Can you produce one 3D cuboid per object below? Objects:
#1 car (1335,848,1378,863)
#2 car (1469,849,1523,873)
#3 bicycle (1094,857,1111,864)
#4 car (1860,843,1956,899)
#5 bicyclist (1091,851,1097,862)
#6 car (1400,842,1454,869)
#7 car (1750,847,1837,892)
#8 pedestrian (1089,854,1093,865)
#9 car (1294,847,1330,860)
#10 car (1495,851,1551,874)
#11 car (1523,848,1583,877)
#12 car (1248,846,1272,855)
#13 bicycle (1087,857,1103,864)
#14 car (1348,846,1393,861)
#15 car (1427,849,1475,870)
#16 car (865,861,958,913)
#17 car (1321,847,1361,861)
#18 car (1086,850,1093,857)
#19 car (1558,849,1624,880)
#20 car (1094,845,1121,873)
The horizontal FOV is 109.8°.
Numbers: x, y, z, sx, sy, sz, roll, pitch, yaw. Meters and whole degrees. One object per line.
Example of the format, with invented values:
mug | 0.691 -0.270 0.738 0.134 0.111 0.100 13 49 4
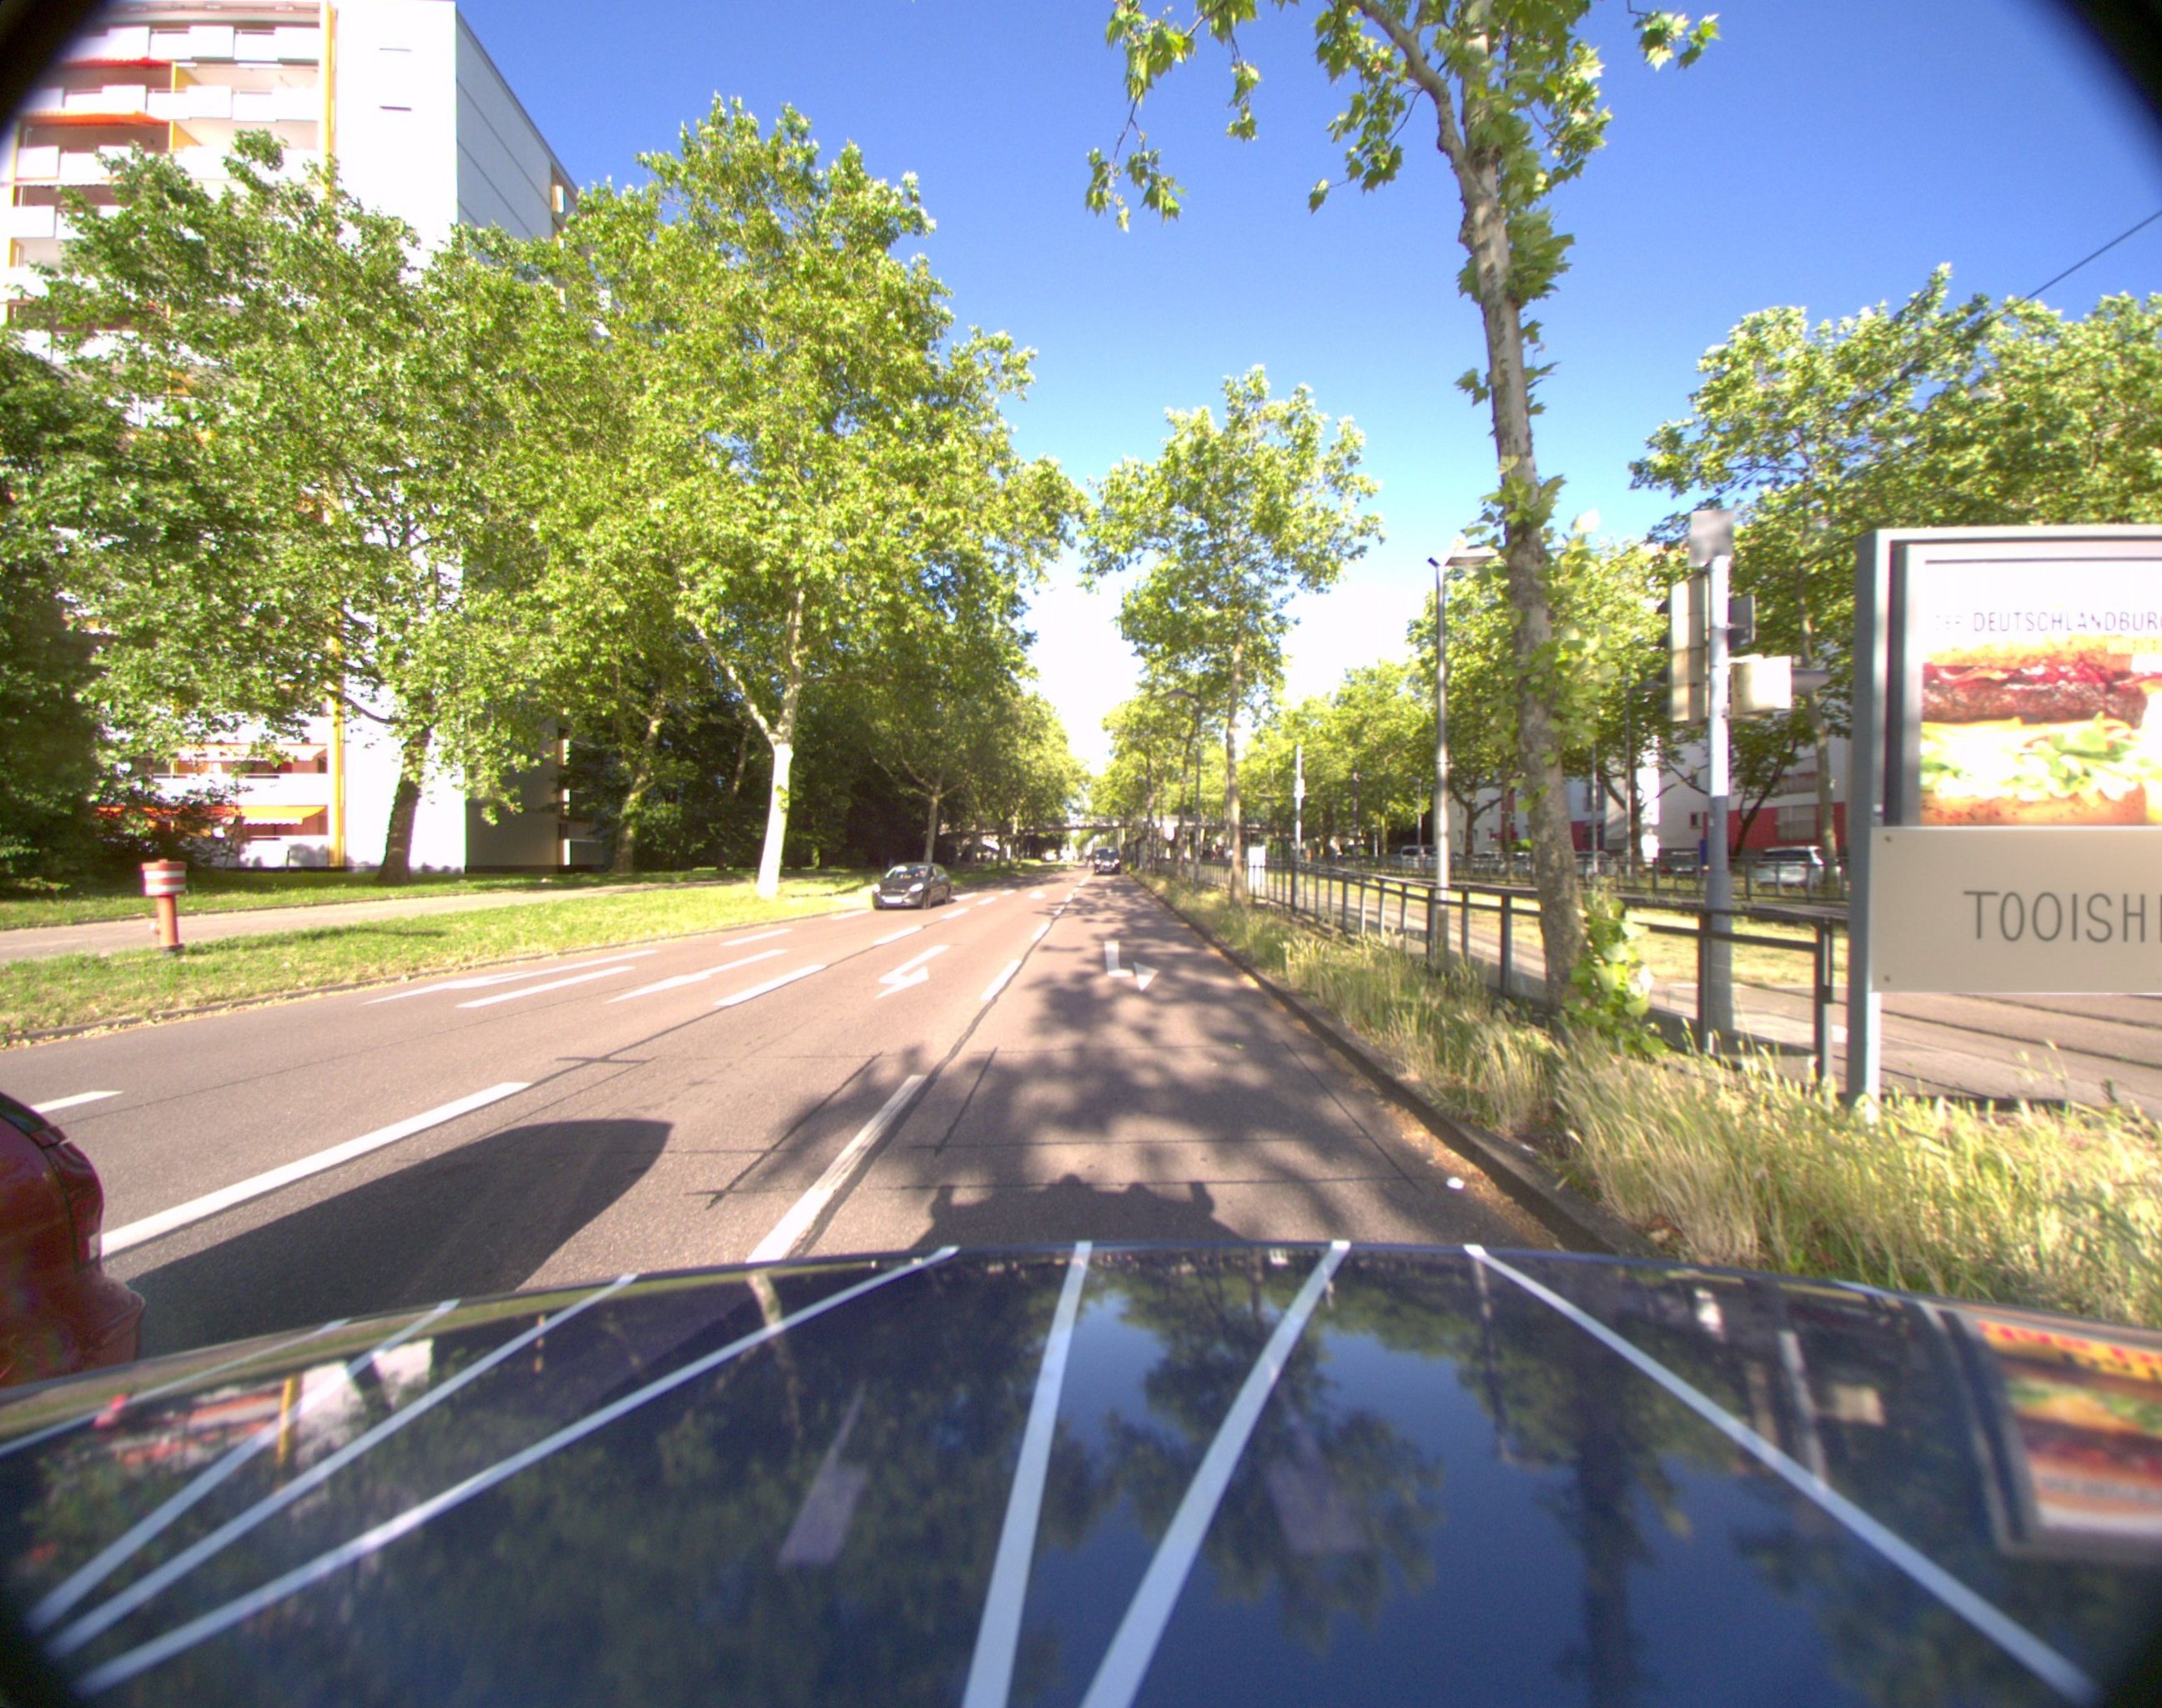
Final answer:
car | 26.584 0.101 73.274 4.376 1.367 1.919 -1 1 -39
car | 25.954 0.417 47.491 3.689 1.440 1.645 -1 1 -39
bicycle | 2.810 0.848 100.545 2.143 0.959 0.601 -1 1 -3
car | 25.016 0.463 22.957 3.689 1.558 1.683 -1 1 -38
bicyclist | 1.753 0.304 101.911 0.709 1.479 0.610 -1 1 -3
car | 25.957 0.087 56.988 4.376 1.873 1.919 -1 1 -39
car | 25.054 0.496 26.682 3.689 1.425 1.683 -1 1 -38
pedestrian | 1.355 0.693 102.911 0.398 1.454 0.417 -1 1 -3
car | 27.197 -0.057 89.425 4.376 1.367 1.919 -1 1 -39
car | 26.197 0.484 44.957 3.689 1.234 1.645 -1 1 -39
car | 25.808 0.431 41.514 3.689 1.440 1.645 -1 1 -39
car | 28.524 -0.502 121.031 4.033 1.335 1.618 -1 1 -37
bicycle | 1.883 0.860 101.928 2.143 0.959 0.601 -1 1 -3
car | 26.779 -0.044 70.248 4.376 1.367 1.919 -1 1 -39
car | 26.242 0.349 53.895 3.689 1.388 1.645 -1 1 -39
car | -5.423 1.017 24.805 1.749 1.460 3.894 -1 0 6
car | 27.239 0.026 79.571 4.376 1.367 1.919 -1 1 -39
car | 2.305 -0.154 209.337 2.040 1.995 5.113 -1 0 1
car | 25.327 0.503 37.687 3.689 1.384 1.645 -1 1 -38
car | 2.066 0.361 60.604 2.040 2.102 5.113 -1 0 1
